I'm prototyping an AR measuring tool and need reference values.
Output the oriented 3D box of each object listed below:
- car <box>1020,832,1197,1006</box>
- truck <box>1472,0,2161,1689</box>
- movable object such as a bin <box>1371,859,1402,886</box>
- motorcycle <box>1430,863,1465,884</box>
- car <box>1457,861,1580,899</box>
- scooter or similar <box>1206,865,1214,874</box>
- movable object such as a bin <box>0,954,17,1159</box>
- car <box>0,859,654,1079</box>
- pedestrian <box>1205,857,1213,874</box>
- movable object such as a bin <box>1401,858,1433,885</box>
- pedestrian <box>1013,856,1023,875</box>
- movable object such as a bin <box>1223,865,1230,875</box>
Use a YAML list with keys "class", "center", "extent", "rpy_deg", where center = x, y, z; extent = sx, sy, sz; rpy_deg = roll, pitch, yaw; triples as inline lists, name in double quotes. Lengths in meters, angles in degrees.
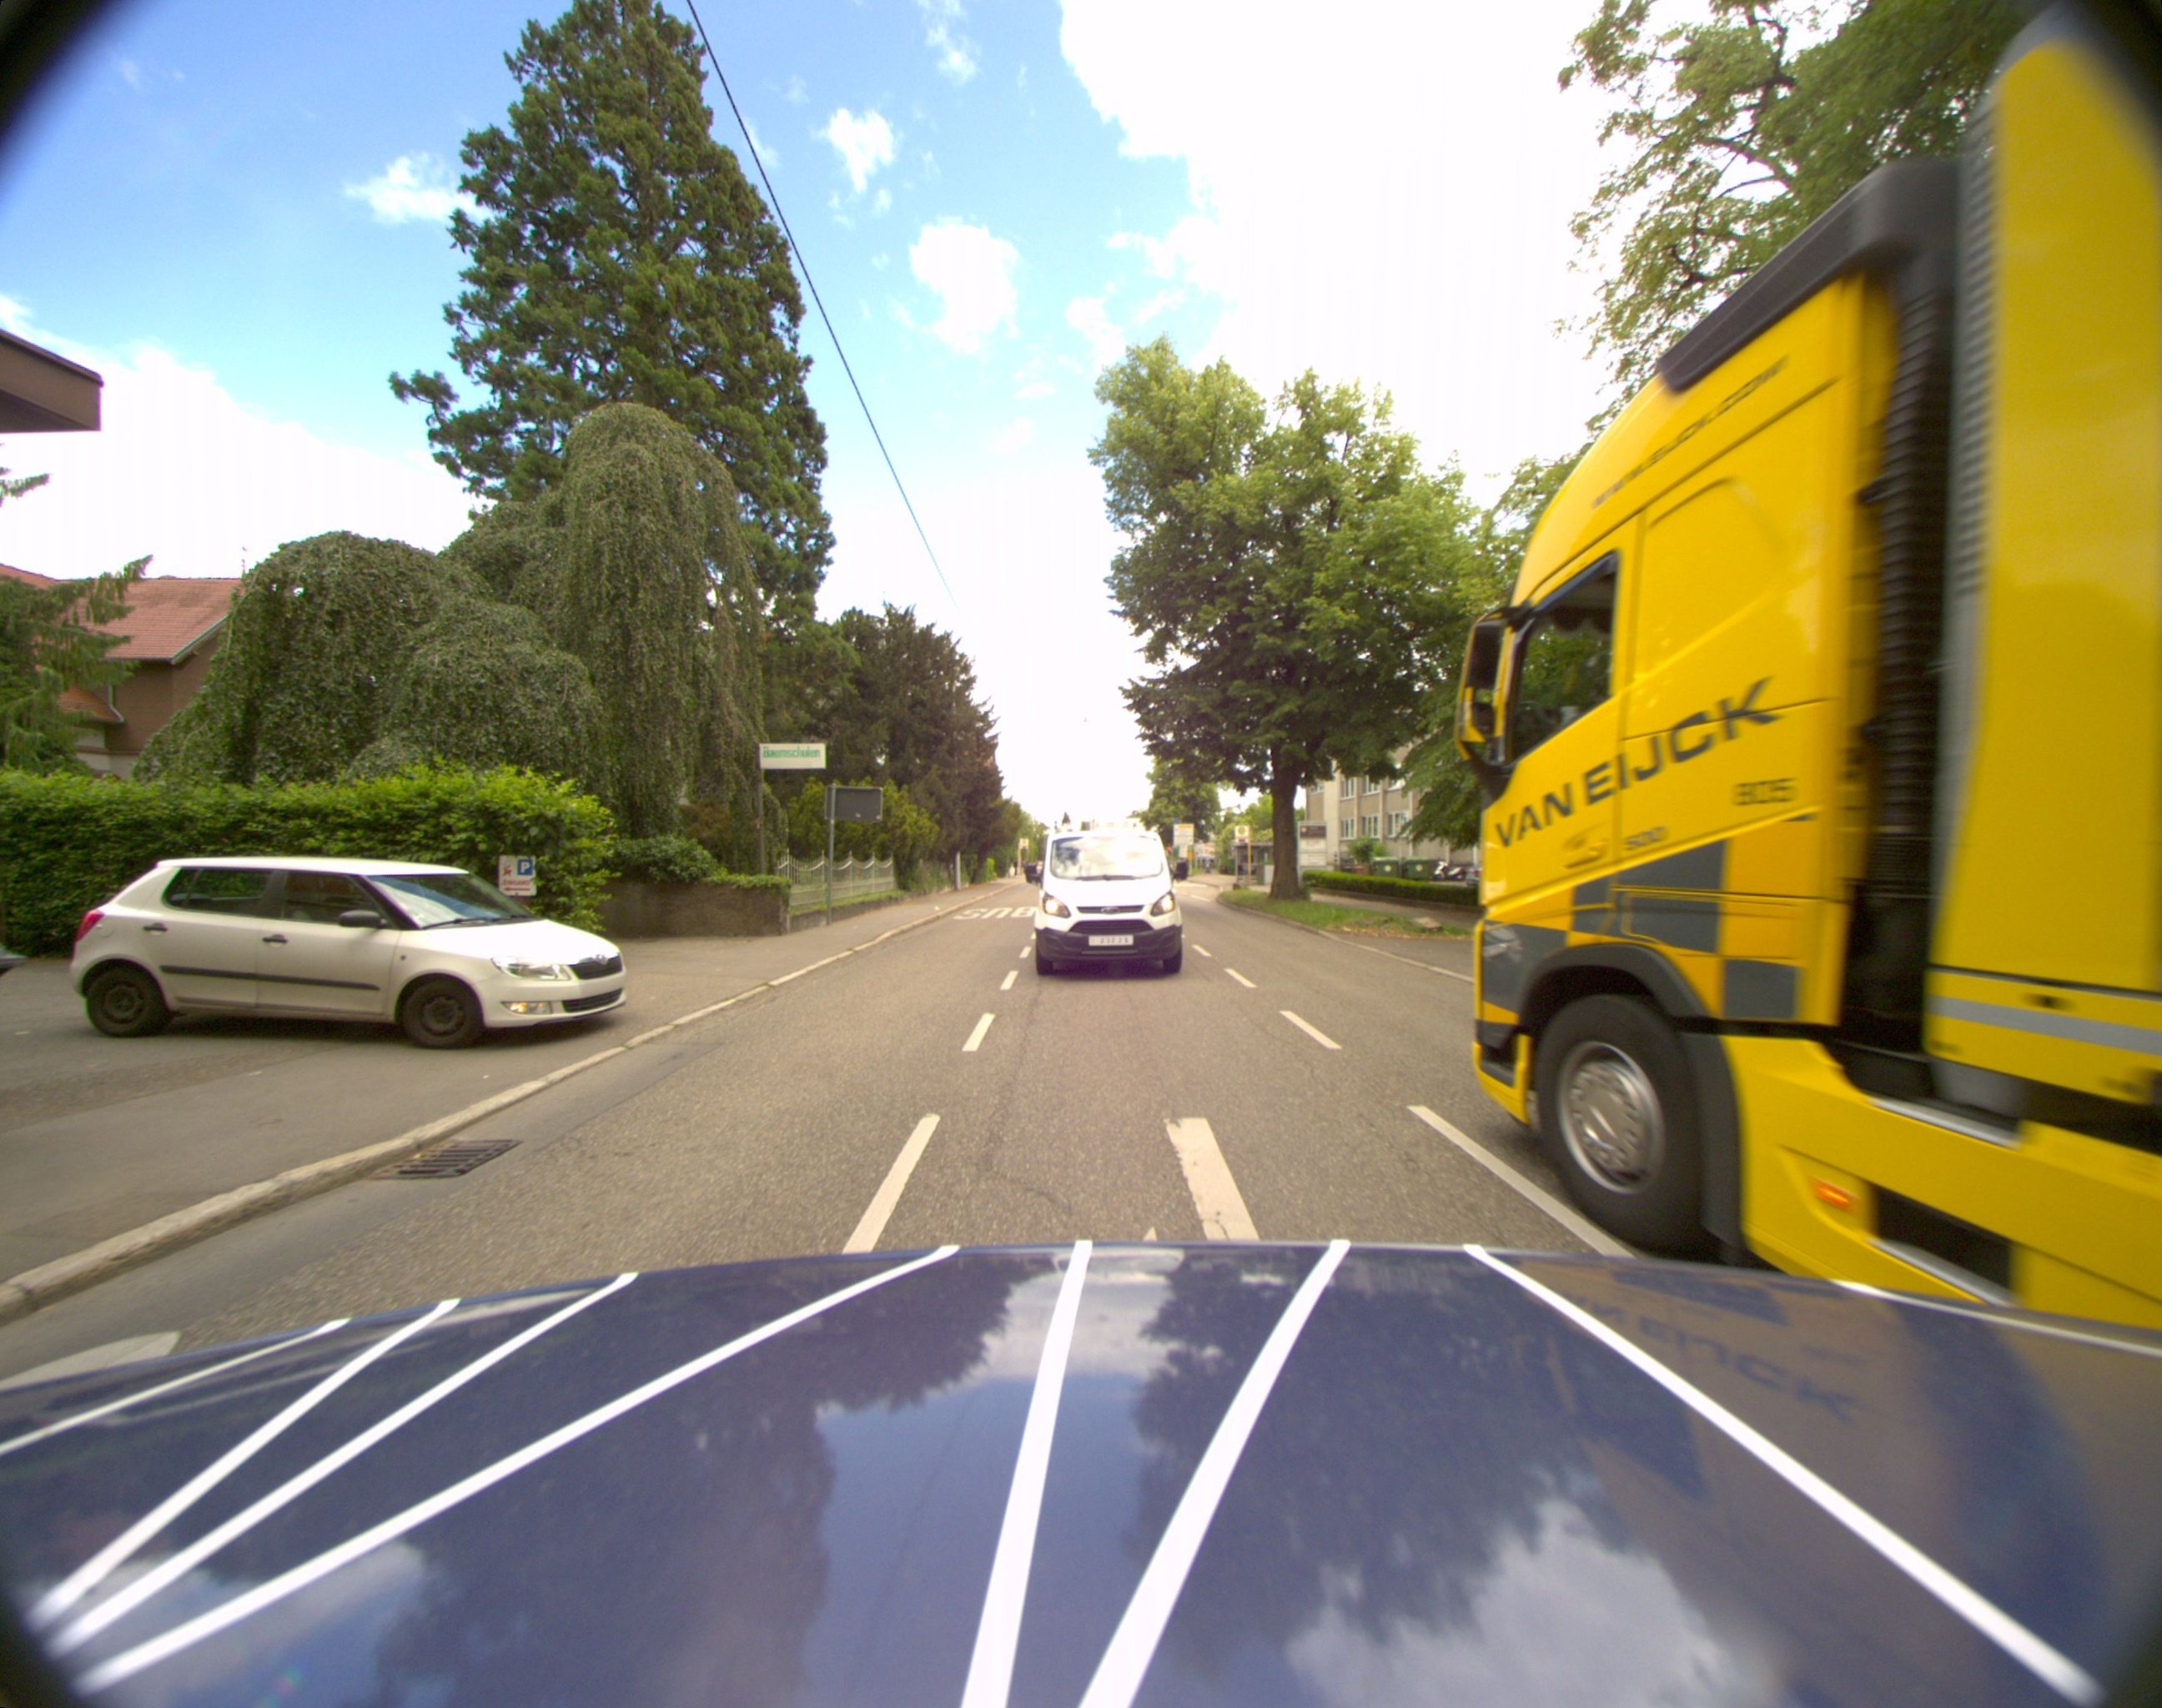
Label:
- class: "car"
  center: [0.260, 0.731, 11.618]
  extent: [1.999, 1.961, 5.714]
  rpy_deg: [-1, 0, -1]
- class: "truck"
  center: [3.491, -0.262, 0.188]
  extent: [2.851, 3.760, 7.668]
  rpy_deg: [-1, 1, 1]
- class: "movable object such as a bin"
  center: [16.944, 1.007, 42.169]
  extent: [1.301, 1.457, 0.992]
  rpy_deg: [-1, 1, 0]
- class: "motorcycle"
  center: [20.344, 1.088, 42.171]
  extent: [1.645, 1.133, 0.639]
  rpy_deg: [-1, 1, 1]
- class: "car"
  center: [18.264, 1.075, 31.917]
  extent: [4.143, 1.470, 1.814]
  rpy_deg: [-1, 1, 15]
- class: "scooter or similar"
  center: [12.244, 1.464, 72.272]
  extent: [0.607, 0.782, 0.860]
  rpy_deg: [-1, 1, 17]
- class: "movable object such as a bin"
  center: [-6.091, 1.085, 3.821]
  extent: [0.608, 1.094, 0.622]
  rpy_deg: [1, 1, 0]
- class: "car"
  center: [-6.289, 0.912, 6.712]
  extent: [4.039, 1.462, 1.600]
  rpy_deg: [4, 1, -2]
- class: "pedestrian"
  center: [12.326, 1.110, 73.202]
  extent: [0.672, 1.549, 0.520]
  rpy_deg: [-1, 1, 17]
- class: "movable object such as a bin"
  center: [18.623, 0.967, 42.105]
  extent: [1.365, 1.457, 0.885]
  rpy_deg: [-1, 1, 0]
- class: "pedestrian"
  center: [-5.684, 1.039, 68.649]
  extent: [0.488, 1.757, 0.672]
  rpy_deg: [-1, 1, 31]
- class: "movable object such as a bin"
  center: [13.435, 1.464, 70.325]
  extent: [0.566, 0.922, 0.608]
  rpy_deg: [-1, 1, 16]
